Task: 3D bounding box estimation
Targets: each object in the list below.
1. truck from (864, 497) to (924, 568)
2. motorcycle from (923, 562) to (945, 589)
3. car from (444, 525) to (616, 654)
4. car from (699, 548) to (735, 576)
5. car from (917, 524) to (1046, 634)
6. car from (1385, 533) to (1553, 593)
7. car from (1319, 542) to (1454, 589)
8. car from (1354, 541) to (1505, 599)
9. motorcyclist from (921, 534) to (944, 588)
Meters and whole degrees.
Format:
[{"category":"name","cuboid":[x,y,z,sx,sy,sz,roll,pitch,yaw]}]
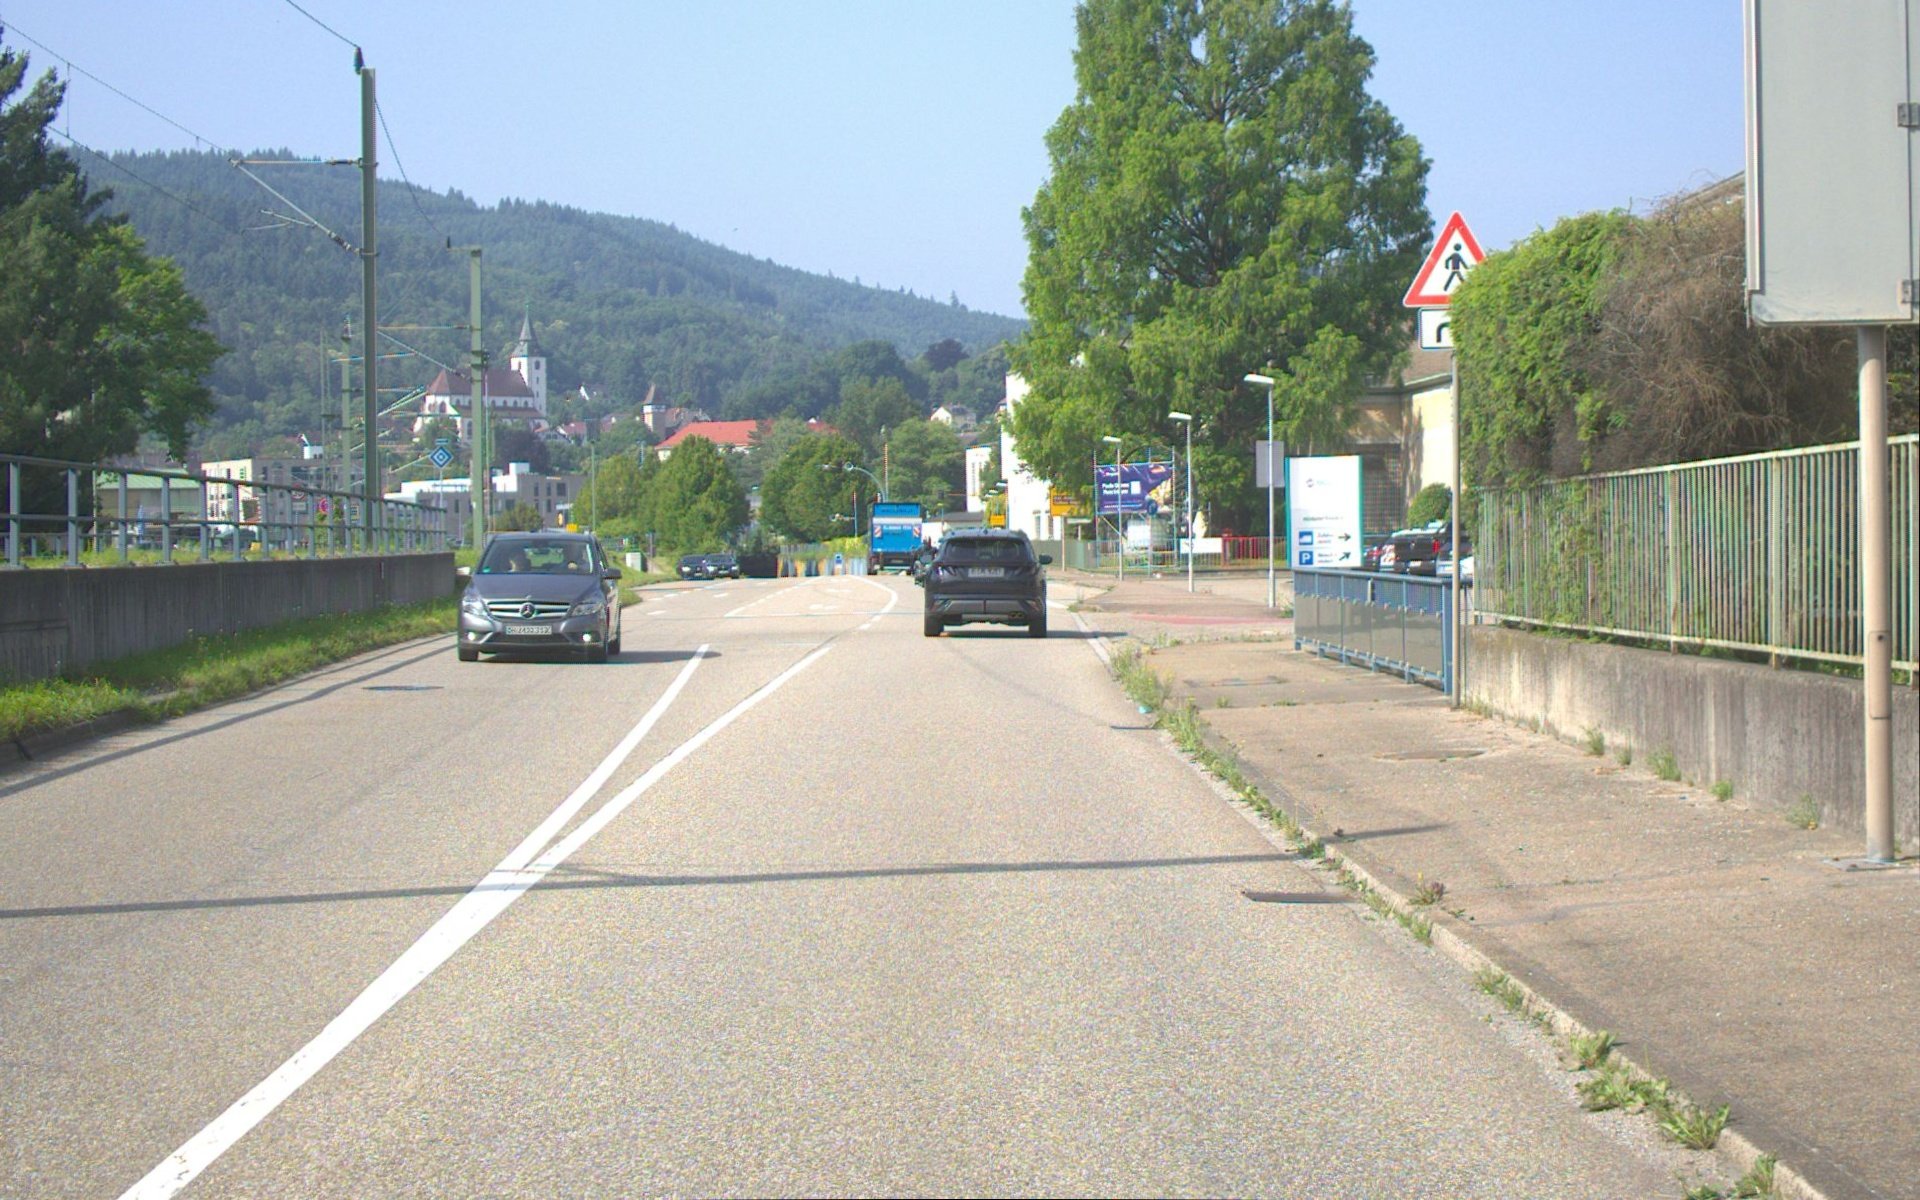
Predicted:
[{"category":"truck","cuboid":[-2.838,-2.891,147.247,2.312,2.960,5.966,-1,1,-3]},{"category":"motorcycle","cuboid":[-0.744,-0.693,97.007,0.606,0.751,1.415,-1,1,-1]},{"category":"car","cuboid":[-5.221,-0.150,42.203,1.741,1.502,4.200,0,1,-2]},{"category":"car","cuboid":[-12.619,-1.973,178.737,1.755,1.424,4.001,-1,1,-3]},{"category":"car","cuboid":[0.354,-0.344,53.385,1.919,1.634,4.000,0,1,1]},{"category":"car","cuboid":[13.292,-0.975,89.685,3.987,1.499,1.886,-1,1,-29]},{"category":"car","cuboid":[13.211,-1.080,106.400,3.987,1.396,1.664,-1,1,-31]},{"category":"car","cuboid":[13.975,-0.901,102.327,4.159,1.666,1.870,-1,1,-30]},{"category":"motorcyclist","cuboid":[-0.782,-1.100,97.003,0.606,1.515,0.863,-1,1,-1]}]
